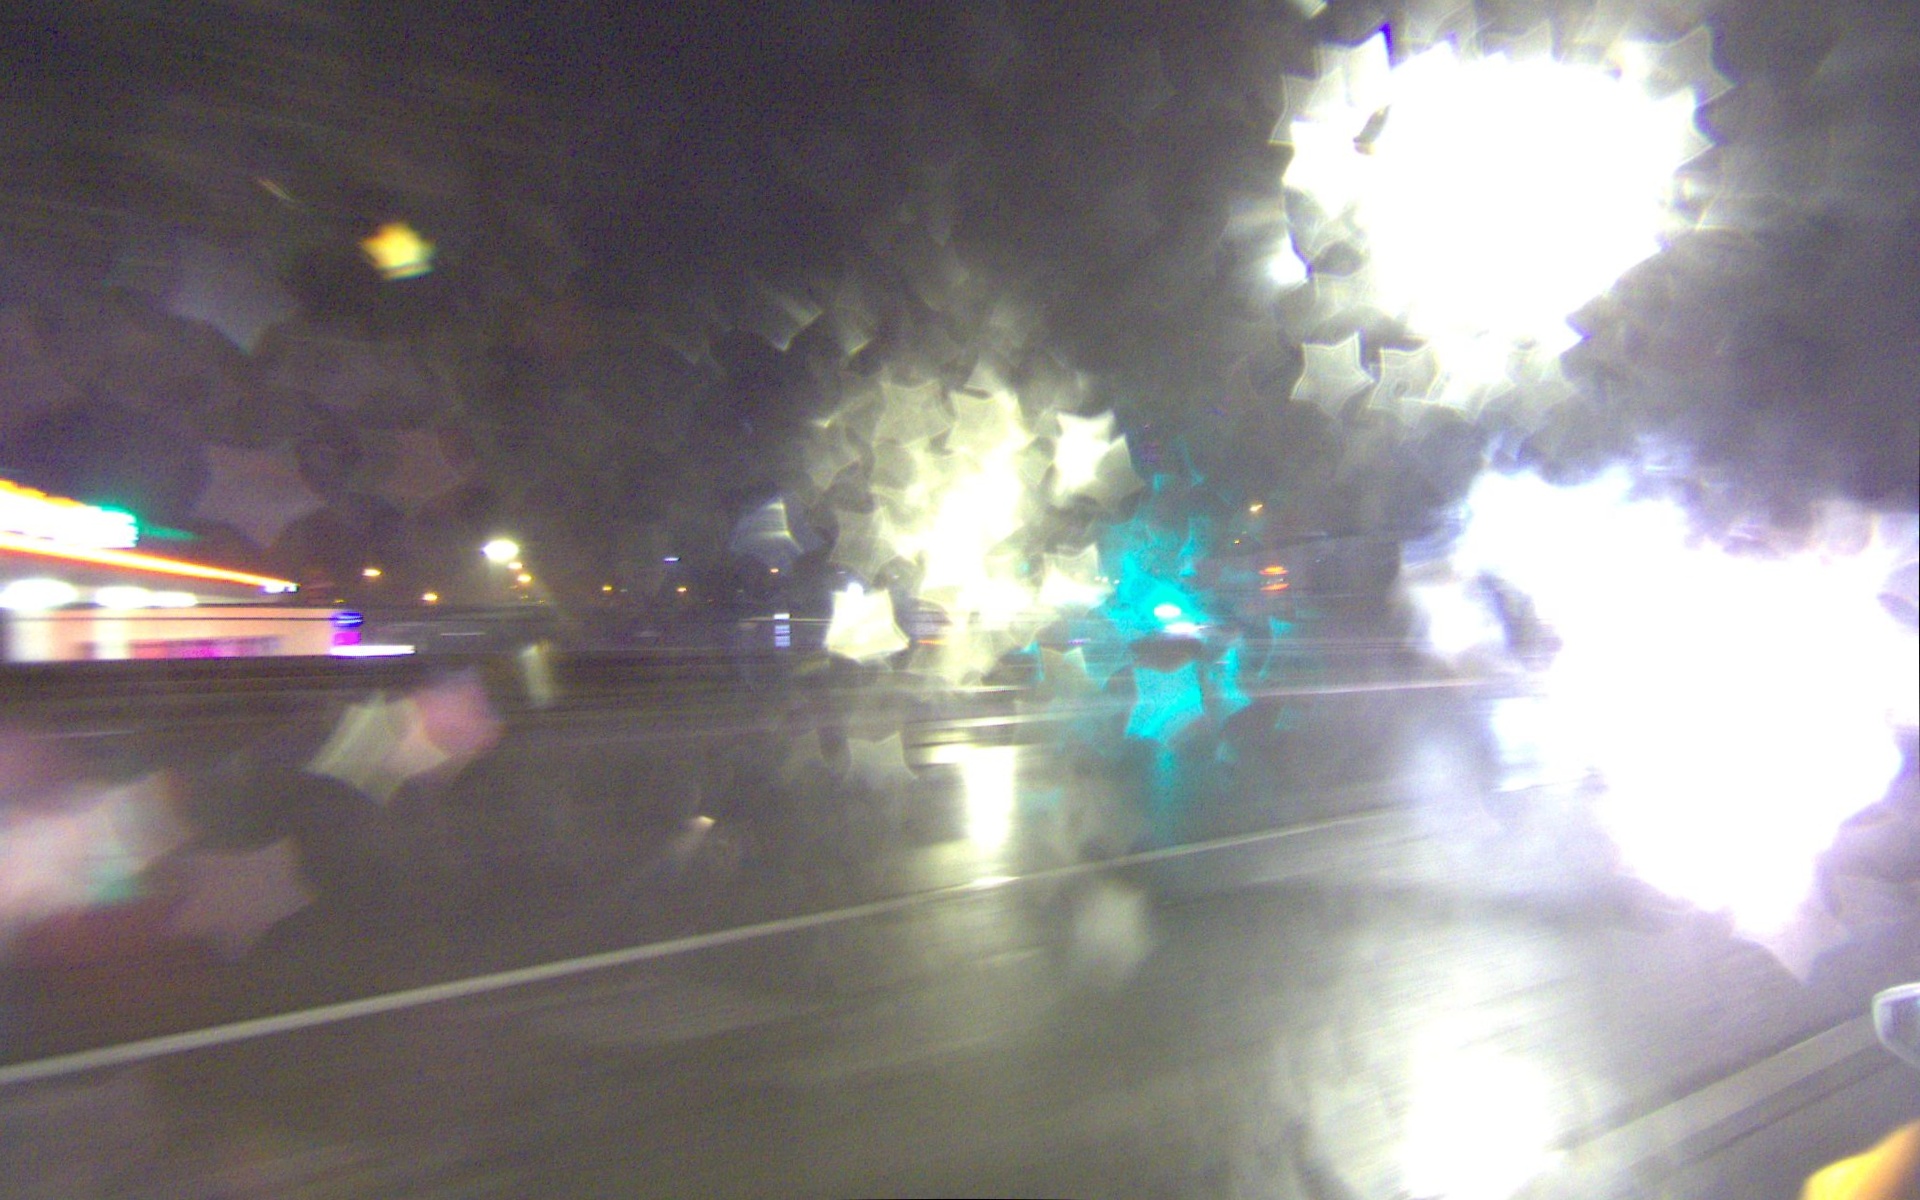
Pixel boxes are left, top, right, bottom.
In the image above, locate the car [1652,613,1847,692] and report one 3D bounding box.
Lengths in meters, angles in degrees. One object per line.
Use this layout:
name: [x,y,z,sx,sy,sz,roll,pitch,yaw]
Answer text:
car: [16.648,1.070,21.176,3.902,1.476,1.758,2,1,-27]
